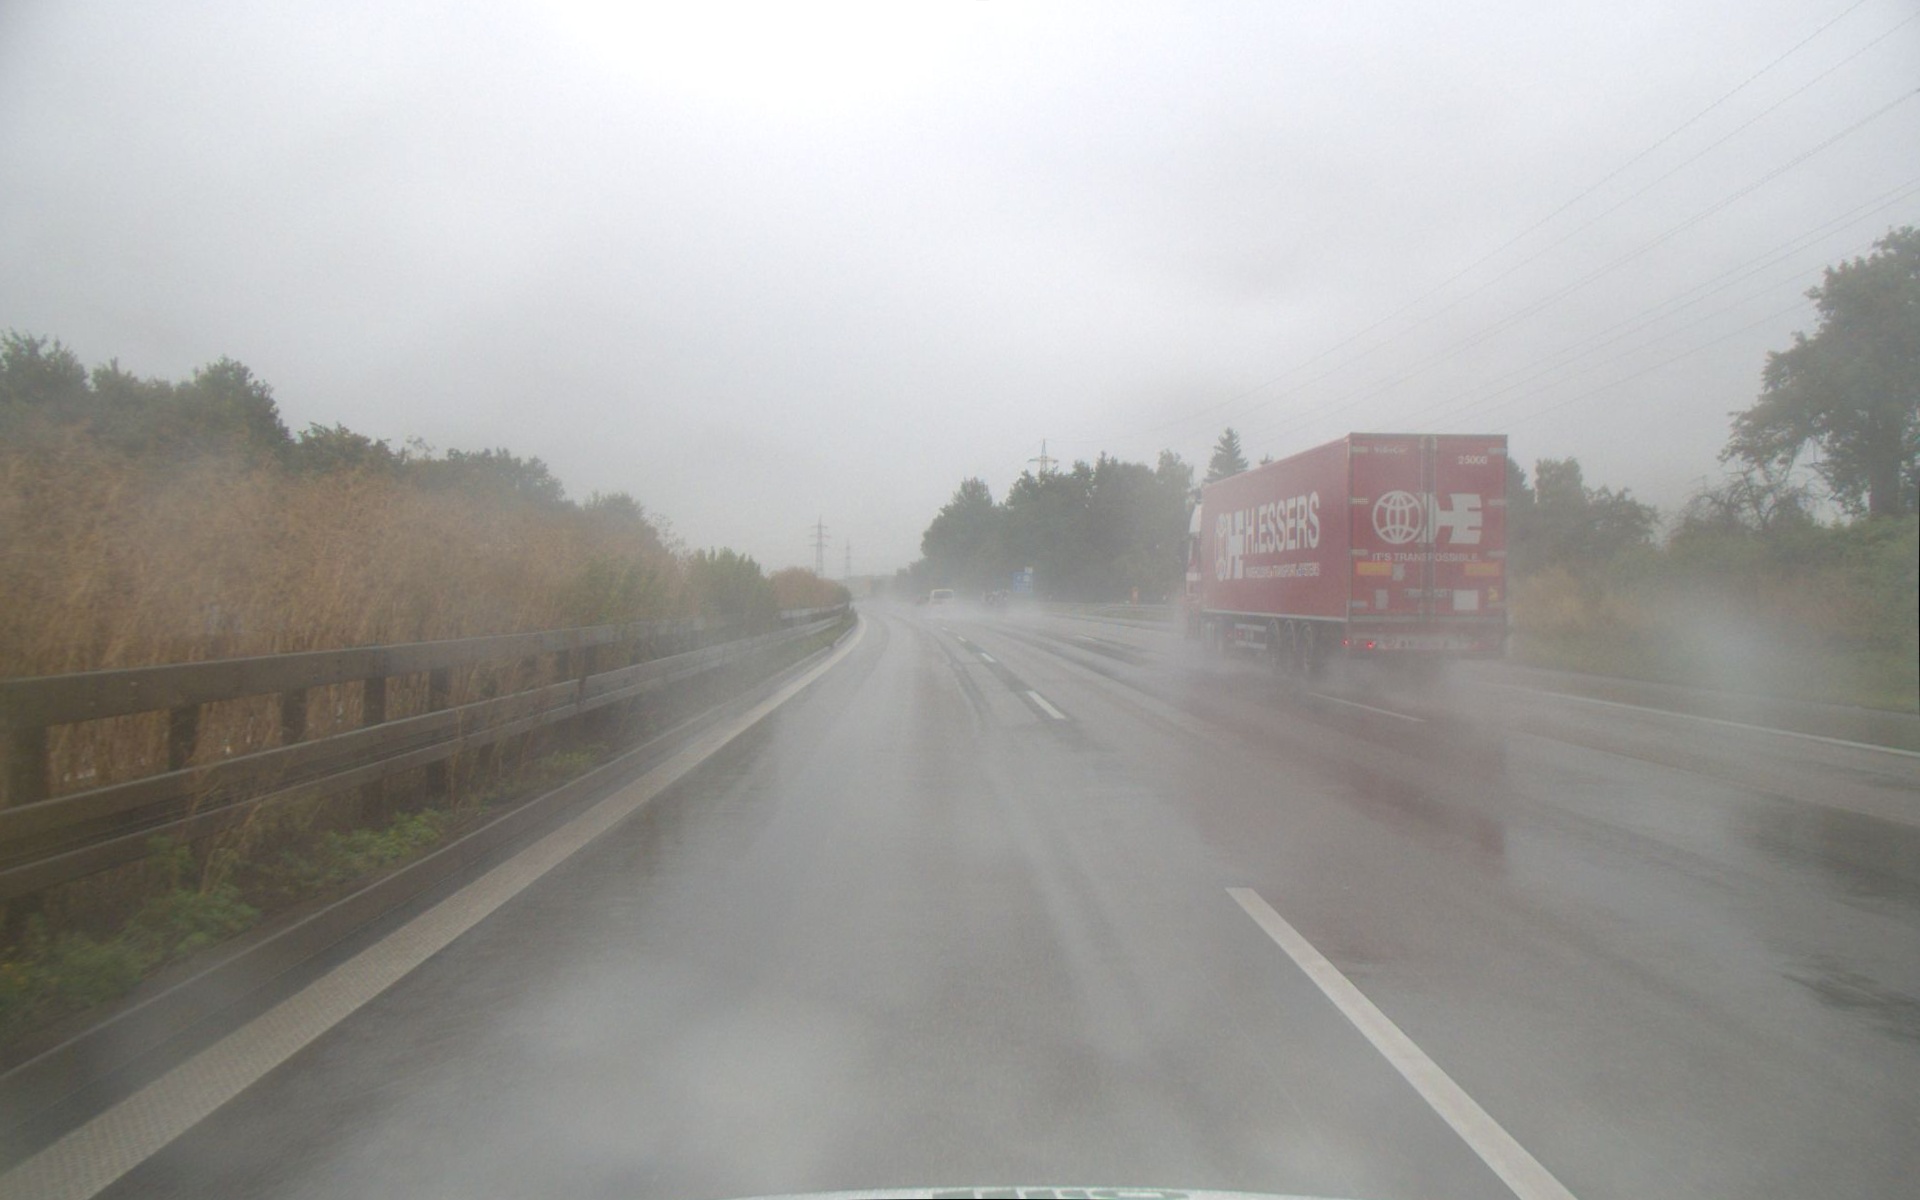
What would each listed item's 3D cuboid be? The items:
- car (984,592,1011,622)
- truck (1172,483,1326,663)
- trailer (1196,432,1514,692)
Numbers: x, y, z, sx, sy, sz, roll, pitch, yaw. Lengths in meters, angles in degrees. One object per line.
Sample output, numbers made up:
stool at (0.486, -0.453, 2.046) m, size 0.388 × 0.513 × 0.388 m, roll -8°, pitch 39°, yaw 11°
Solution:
car at (2.770, 0.486, 122.983) m, size 1.770 × 2.196 × 3.999 m, roll -1°, pitch 0°, yaw -2°
truck at (6.917, -0.624, 40.270) m, size 2.567 × 4.024 × 5.431 m, roll -1°, pitch 0°, yaw -2°
trailer at (7.161, -0.623, 32.699) m, size 2.567 × 4.024 × 13.625 m, roll -1°, pitch 0°, yaw -2°
